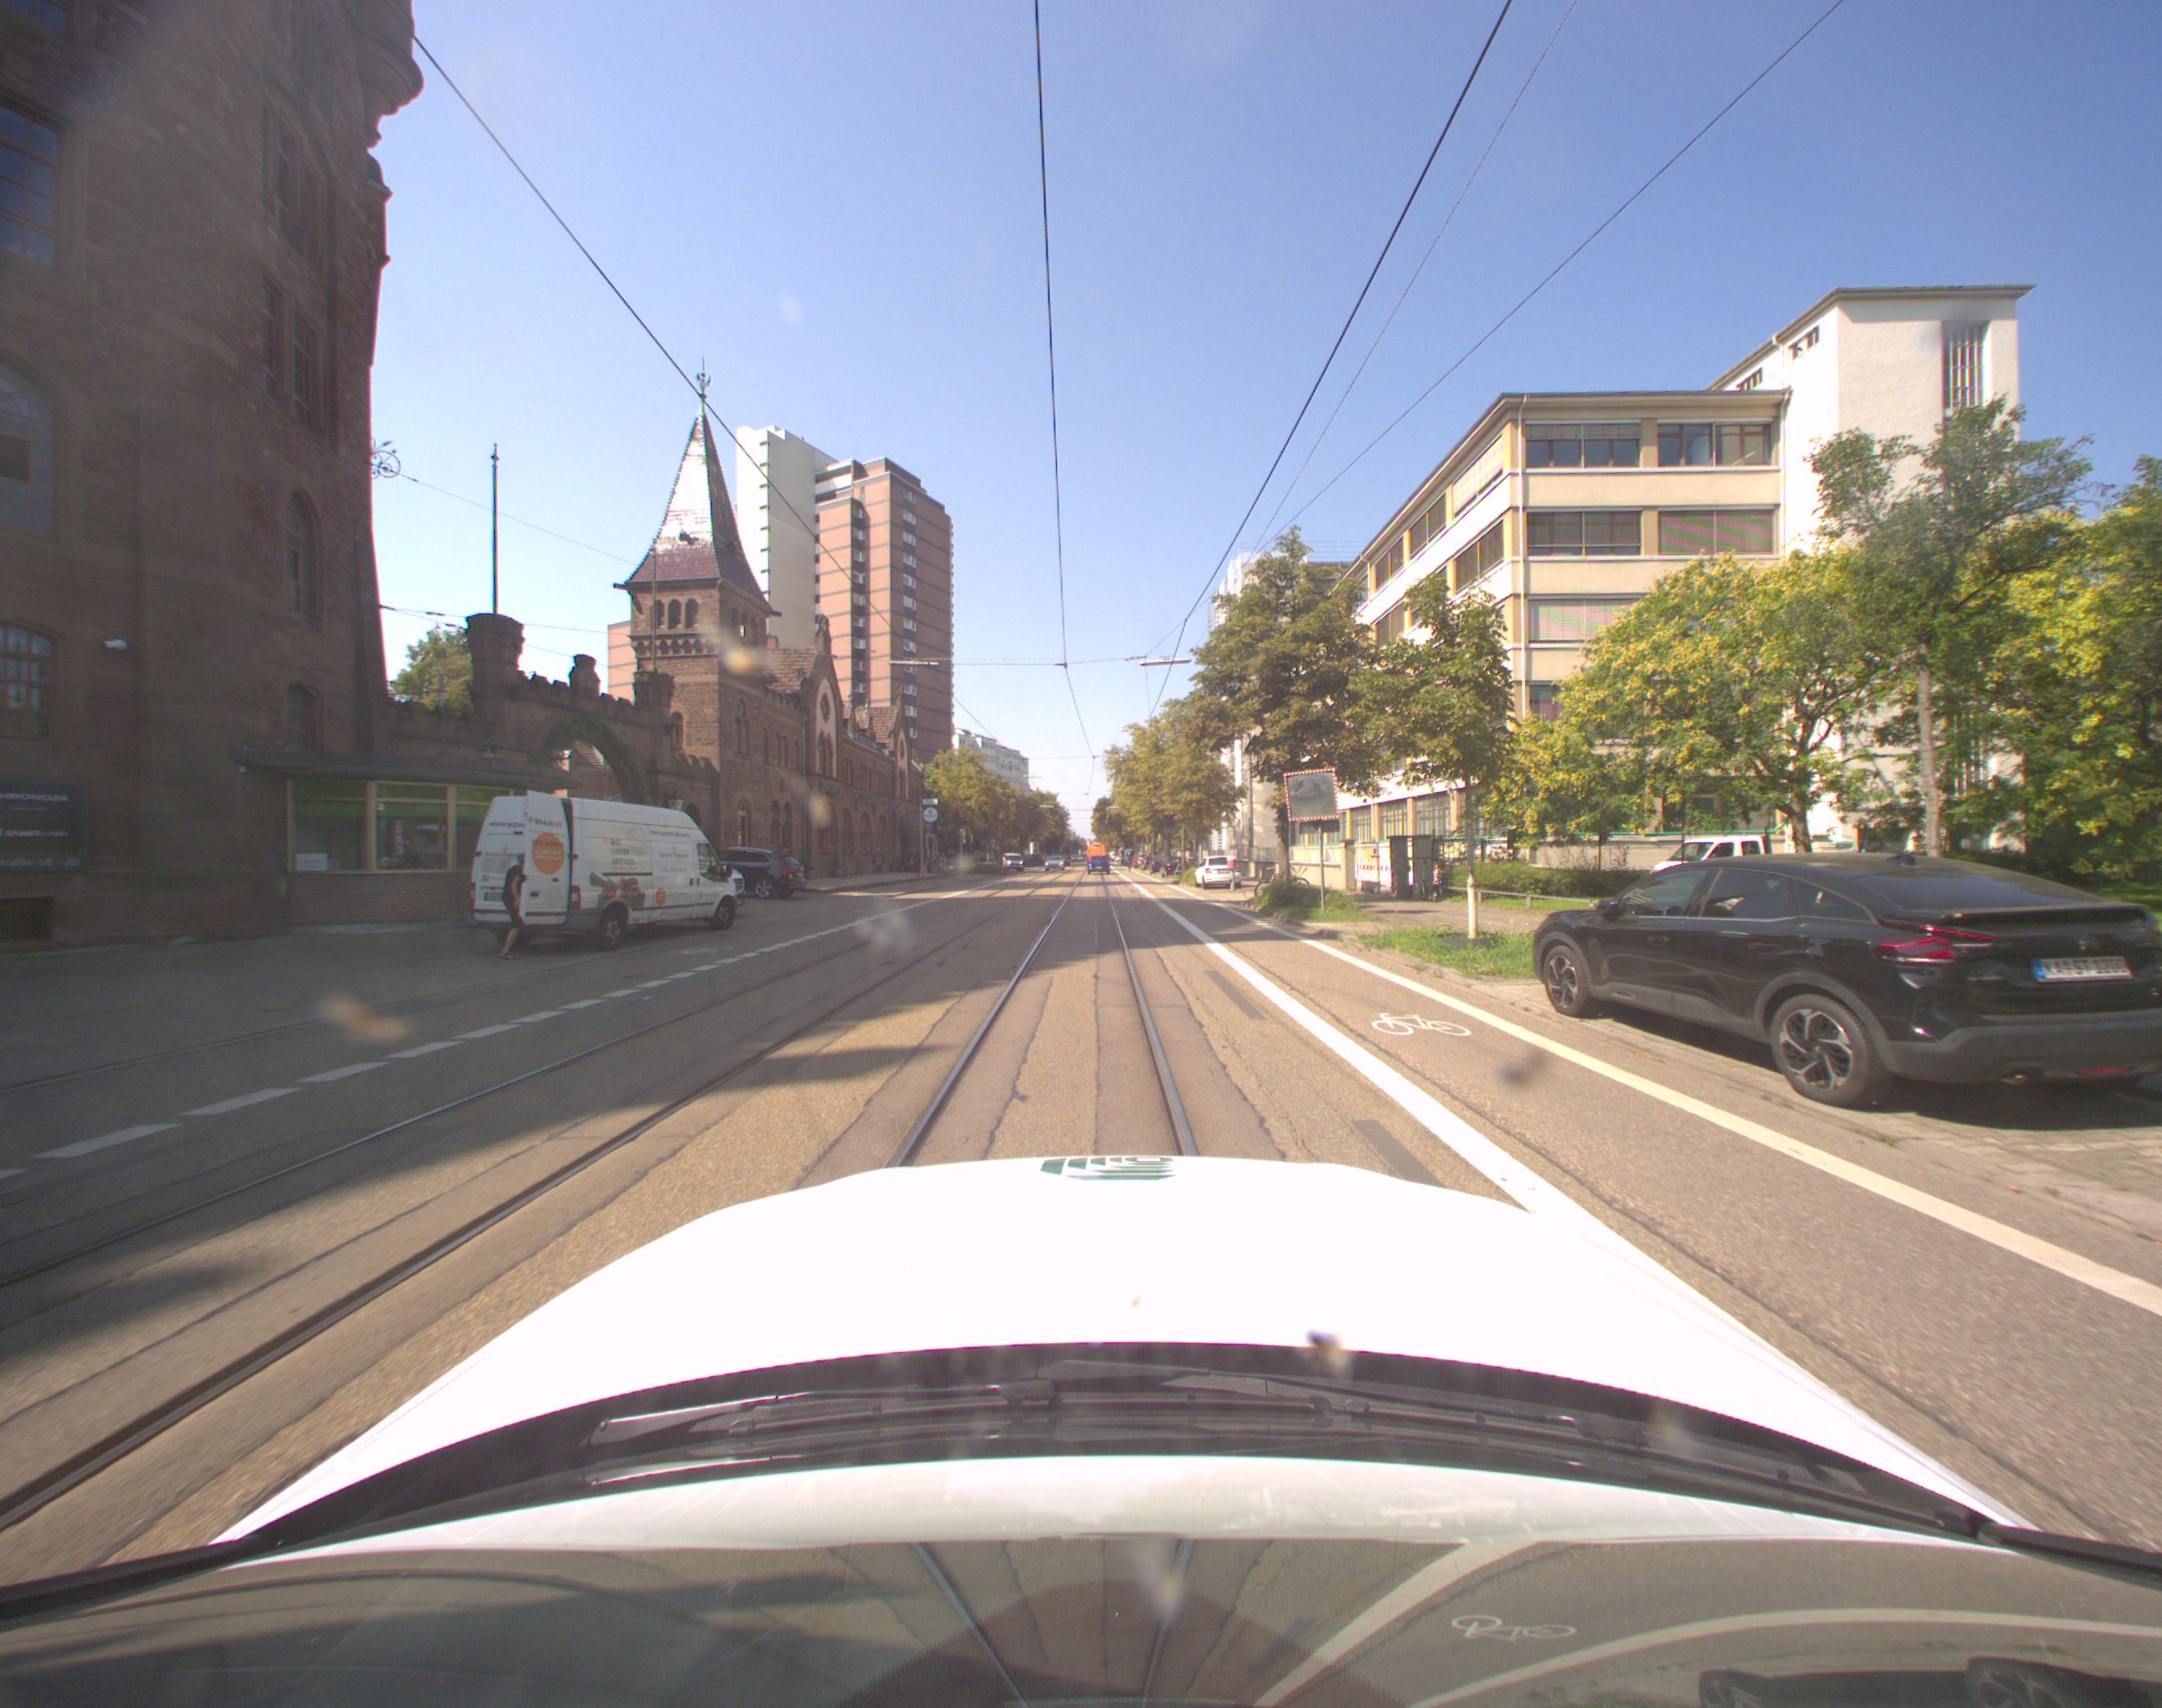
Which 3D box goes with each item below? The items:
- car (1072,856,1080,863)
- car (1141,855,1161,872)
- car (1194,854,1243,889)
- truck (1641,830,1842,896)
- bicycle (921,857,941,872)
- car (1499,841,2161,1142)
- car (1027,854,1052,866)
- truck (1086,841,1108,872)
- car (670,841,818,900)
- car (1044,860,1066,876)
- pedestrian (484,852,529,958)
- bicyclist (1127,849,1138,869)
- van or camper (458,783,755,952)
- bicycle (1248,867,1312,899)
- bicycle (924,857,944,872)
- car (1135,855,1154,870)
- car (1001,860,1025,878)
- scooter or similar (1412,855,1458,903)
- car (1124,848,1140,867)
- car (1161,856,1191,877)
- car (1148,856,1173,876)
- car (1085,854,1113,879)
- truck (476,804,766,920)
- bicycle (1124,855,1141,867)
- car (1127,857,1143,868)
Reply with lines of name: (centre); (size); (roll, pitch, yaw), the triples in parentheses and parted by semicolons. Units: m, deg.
car: (-1.018, 1.210, 184.290); (1.774, 1.684, 4.346); (0, 0, 0)
car: (6.932, 0.922, 80.452); (1.628, 1.585, 4.188); (0, 0, 0)
car: (6.244, 0.776, 37.420); (1.653, 1.481, 4.218); (-1, 0, 2)
truck: (24.159, 0.331, 29.955); (5.485, 2.326, 2.300); (0, 0, 2)
bicycle: (-11.779, 0.841, 63.799); (1.448, 1.093, 0.399); (3, -1, -3)
car: (5.433, 0.713, 6.540); (1.750, 1.515, 4.608); (-2, 0, 0)
car: (-7.127, 1.057, 140.417); (4.022, 2.014, 1.834); (0, 0, -42)
truck: (1.655, 0.234, 85.119); (2.128, 3.124, 6.086); (-1, 0, 1)
car: (-11.414, 0.538, 27.809); (4.120, 1.743, 2.001); (3, 0, 1)
car: (-2.592, 1.384, 82.650); (1.840, 1.492, 4.869); (-2, 0, 2)
pedestrian: (-8.898, 0.765, 12.619); (0.555, 1.599, 0.493); (0, -1, -35)
bicyclist: (4.834, 0.468, 76.642); (1.028, 1.812, 1.016); (0, 0, 1)
van or camper: (-8.766, 0.221, 15.960); (2.104, 2.675, 5.959); (0, 0, 3)
bicycle: (6.019, 0.870, 24.660); (1.805, 0.958, 0.558); (0, 0, 0)
bicycle: (-11.804, 0.844, 65.375); (1.448, 1.093, 0.399); (3, -1, -3)
car: (7.061, 0.896, 90.547); (1.735, 1.668, 4.361); (0, 0, 0)
car: (-7.048, 1.555, 84.332); (1.750, 1.796, 3.979); (0, 0, -15)
scooter or similar: (9.677, 0.646, 22.311); (0.554, 1.259, 1.819); (0, 0, 4)
car: (7.574, 0.526, 121.665); (1.987, 2.755, 5.760); (0, 0, 0)
car: (6.473, 0.841, 55.803); (1.653, 1.408, 4.218); (-1, 0, 2)
car: (6.533, 0.980, 67.354); (1.736, 1.556, 4.218); (-1, 0, 2)
car: (1.498, 0.974, 65.854); (2.128, 1.858, 5.569); (-1, 0, 1)
truck: (-11.636, 0.147, 20.835); (6.289, 2.538, 2.134); (3, 1, 5)
bicycle: (4.798, 0.643, 76.657); (1.397, 1.134, 4.001); (-1, 0, 1)
car: (7.363, 1.107, 111.068); (1.902, 1.431, 4.292); (0, 0, 0)
